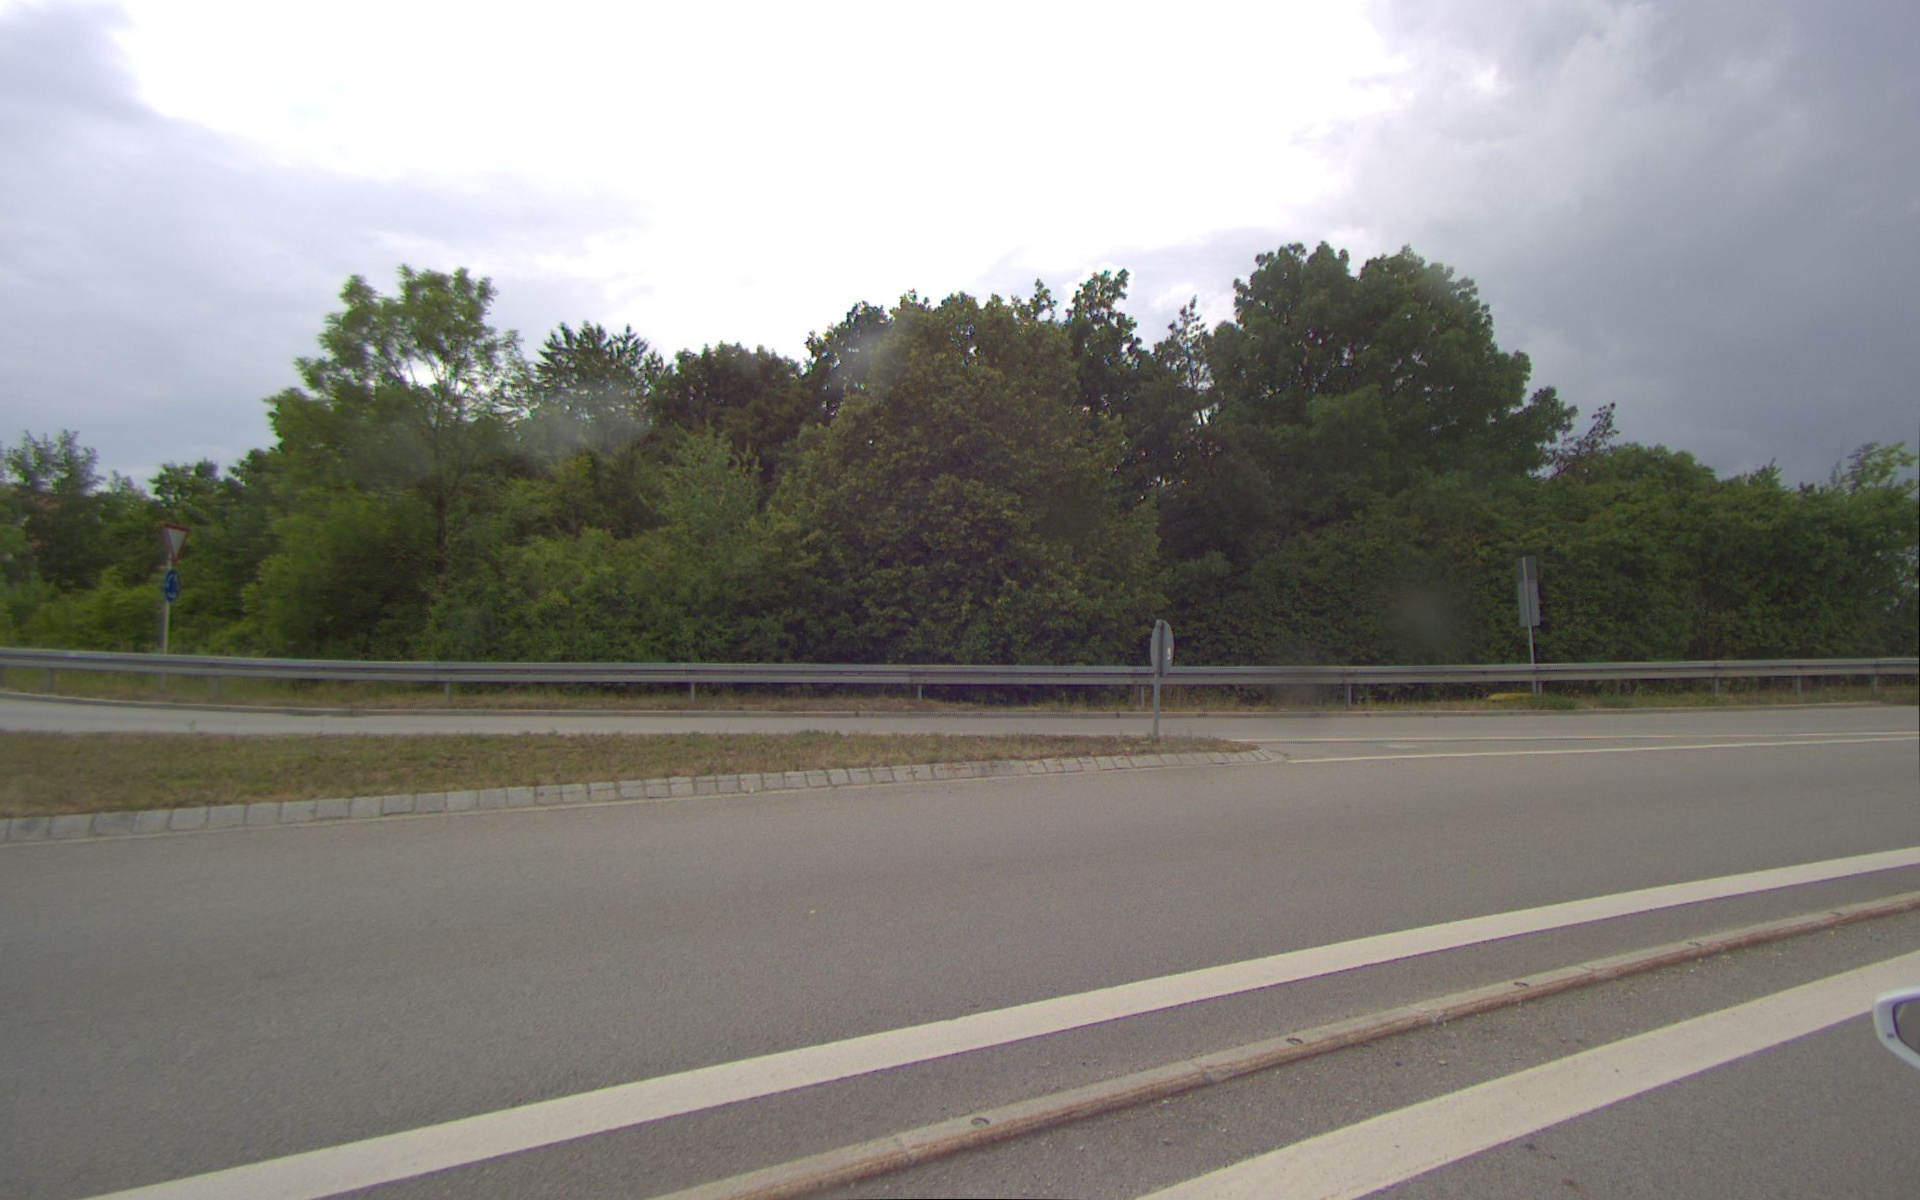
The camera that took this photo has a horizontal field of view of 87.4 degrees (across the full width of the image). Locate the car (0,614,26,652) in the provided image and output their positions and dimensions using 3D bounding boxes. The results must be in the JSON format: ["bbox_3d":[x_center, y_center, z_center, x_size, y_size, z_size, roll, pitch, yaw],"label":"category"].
[{"bbox_3d":[-39.810,1.336,40.867,1.542,1.529,3.294,2,-2,-23],"label":"car"}]
